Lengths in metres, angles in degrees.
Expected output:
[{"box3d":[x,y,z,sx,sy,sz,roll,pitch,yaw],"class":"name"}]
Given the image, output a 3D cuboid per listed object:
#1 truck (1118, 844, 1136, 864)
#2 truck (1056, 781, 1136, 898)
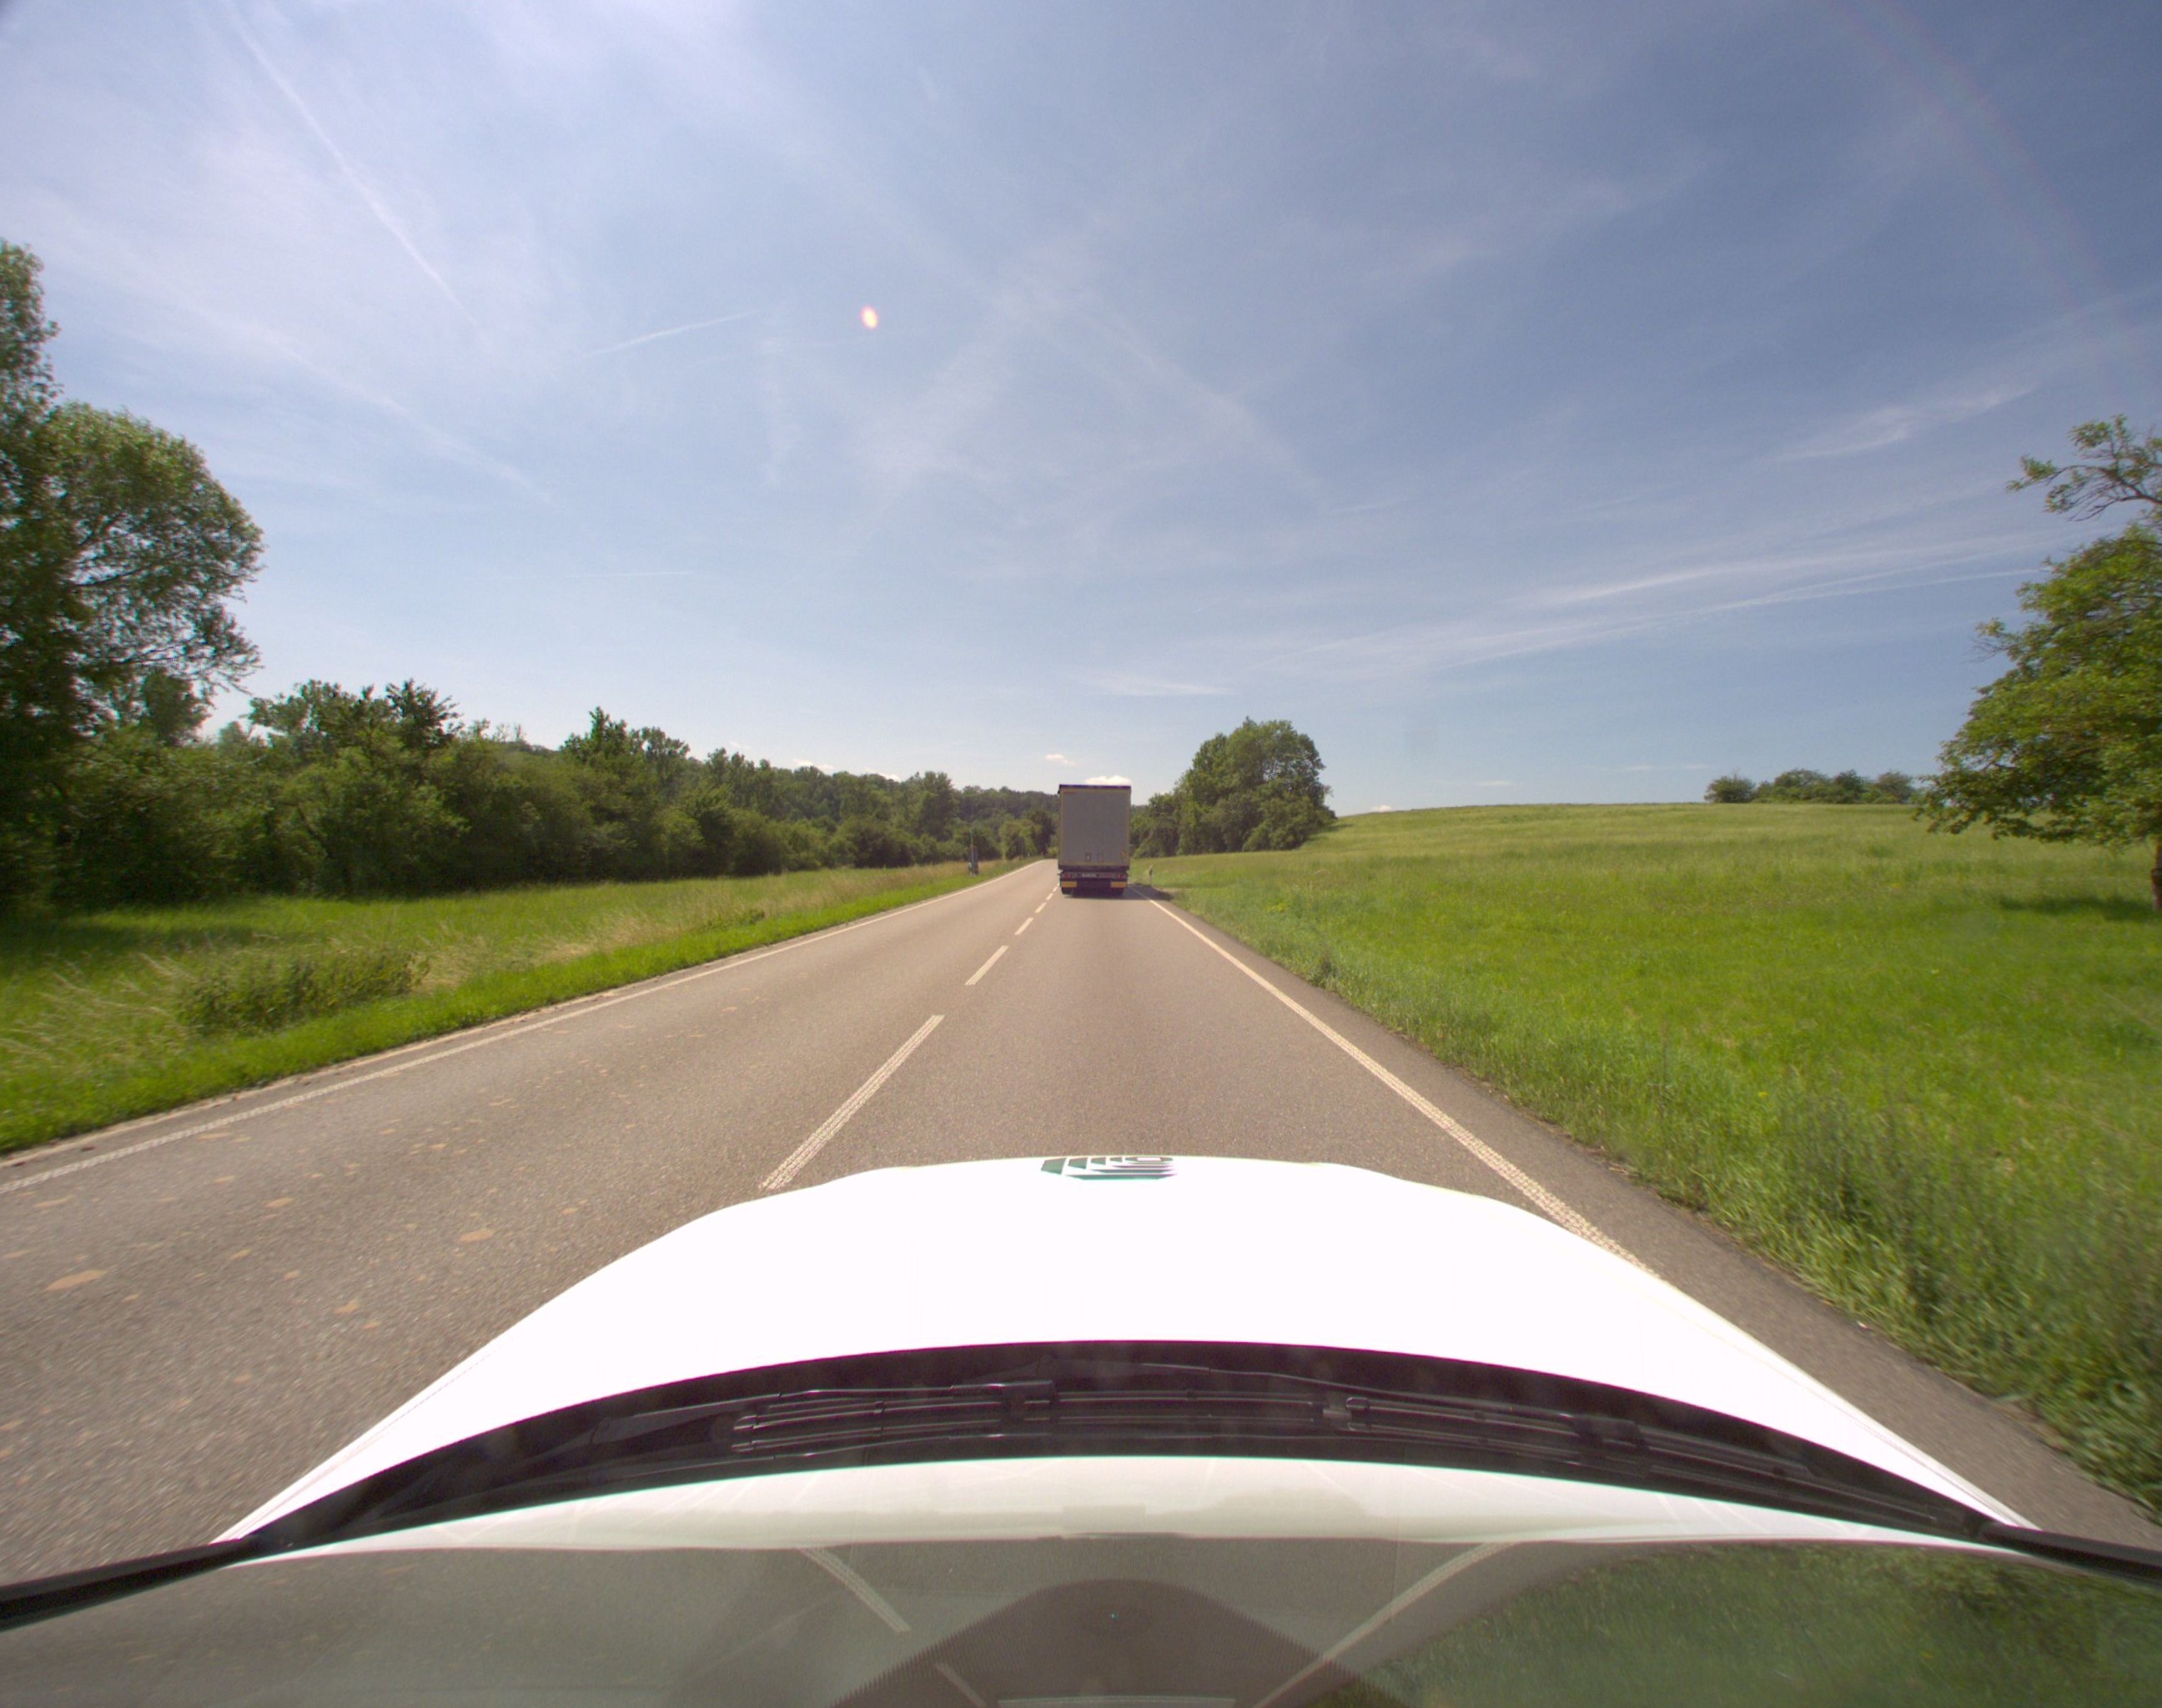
[{"box3d":[11.133,0.069,196.156,3.286,4.386,13.438,-1,-1,7],"class":"truck"},{"box3d":[0.476,-0.463,36.142,2.793,4.069,15.320,0,0,0],"class":"truck"}]
